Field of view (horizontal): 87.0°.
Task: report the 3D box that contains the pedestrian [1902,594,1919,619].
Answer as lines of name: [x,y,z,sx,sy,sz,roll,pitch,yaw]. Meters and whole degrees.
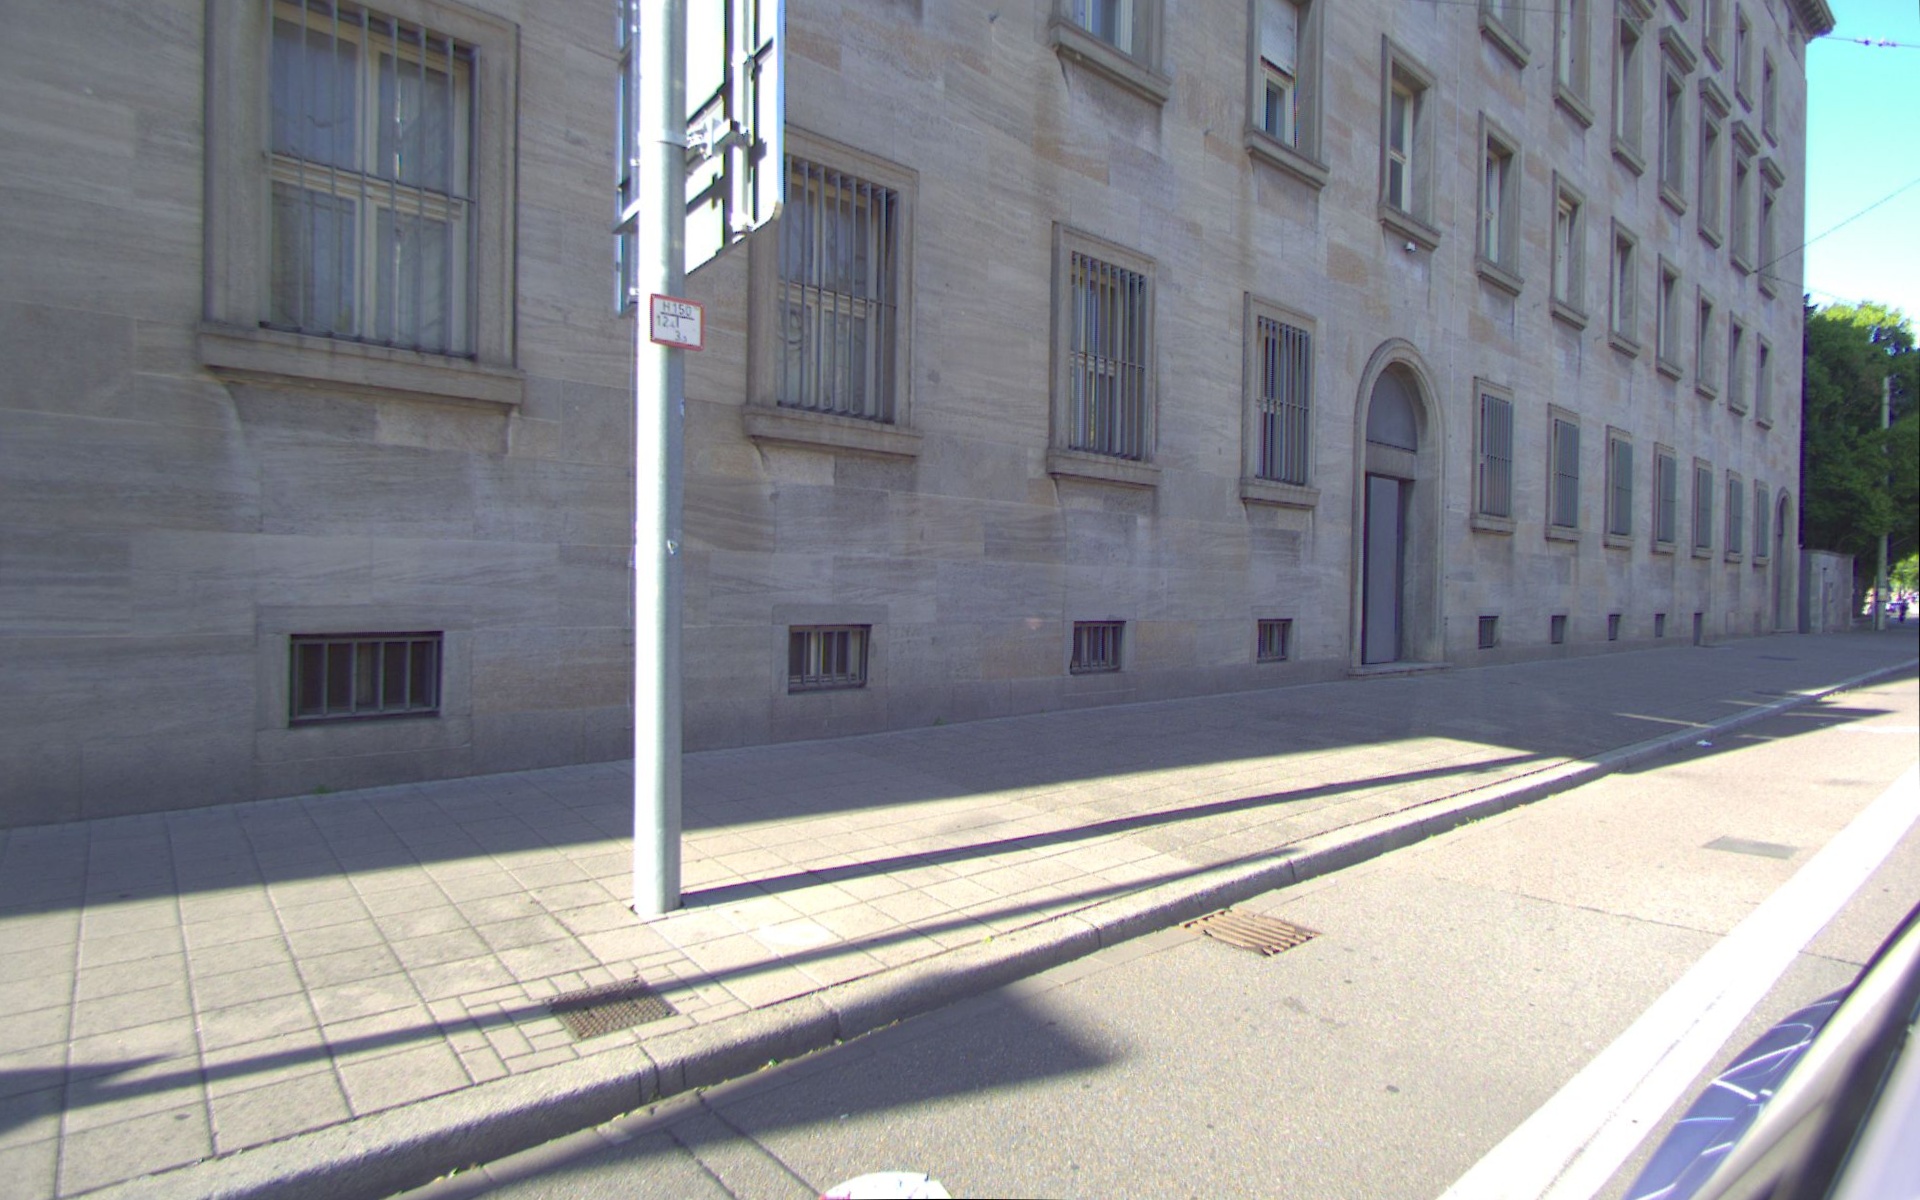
pedestrian: [67.897,0.436,72.278,0.828,1.742,0.792,2,0,43]
